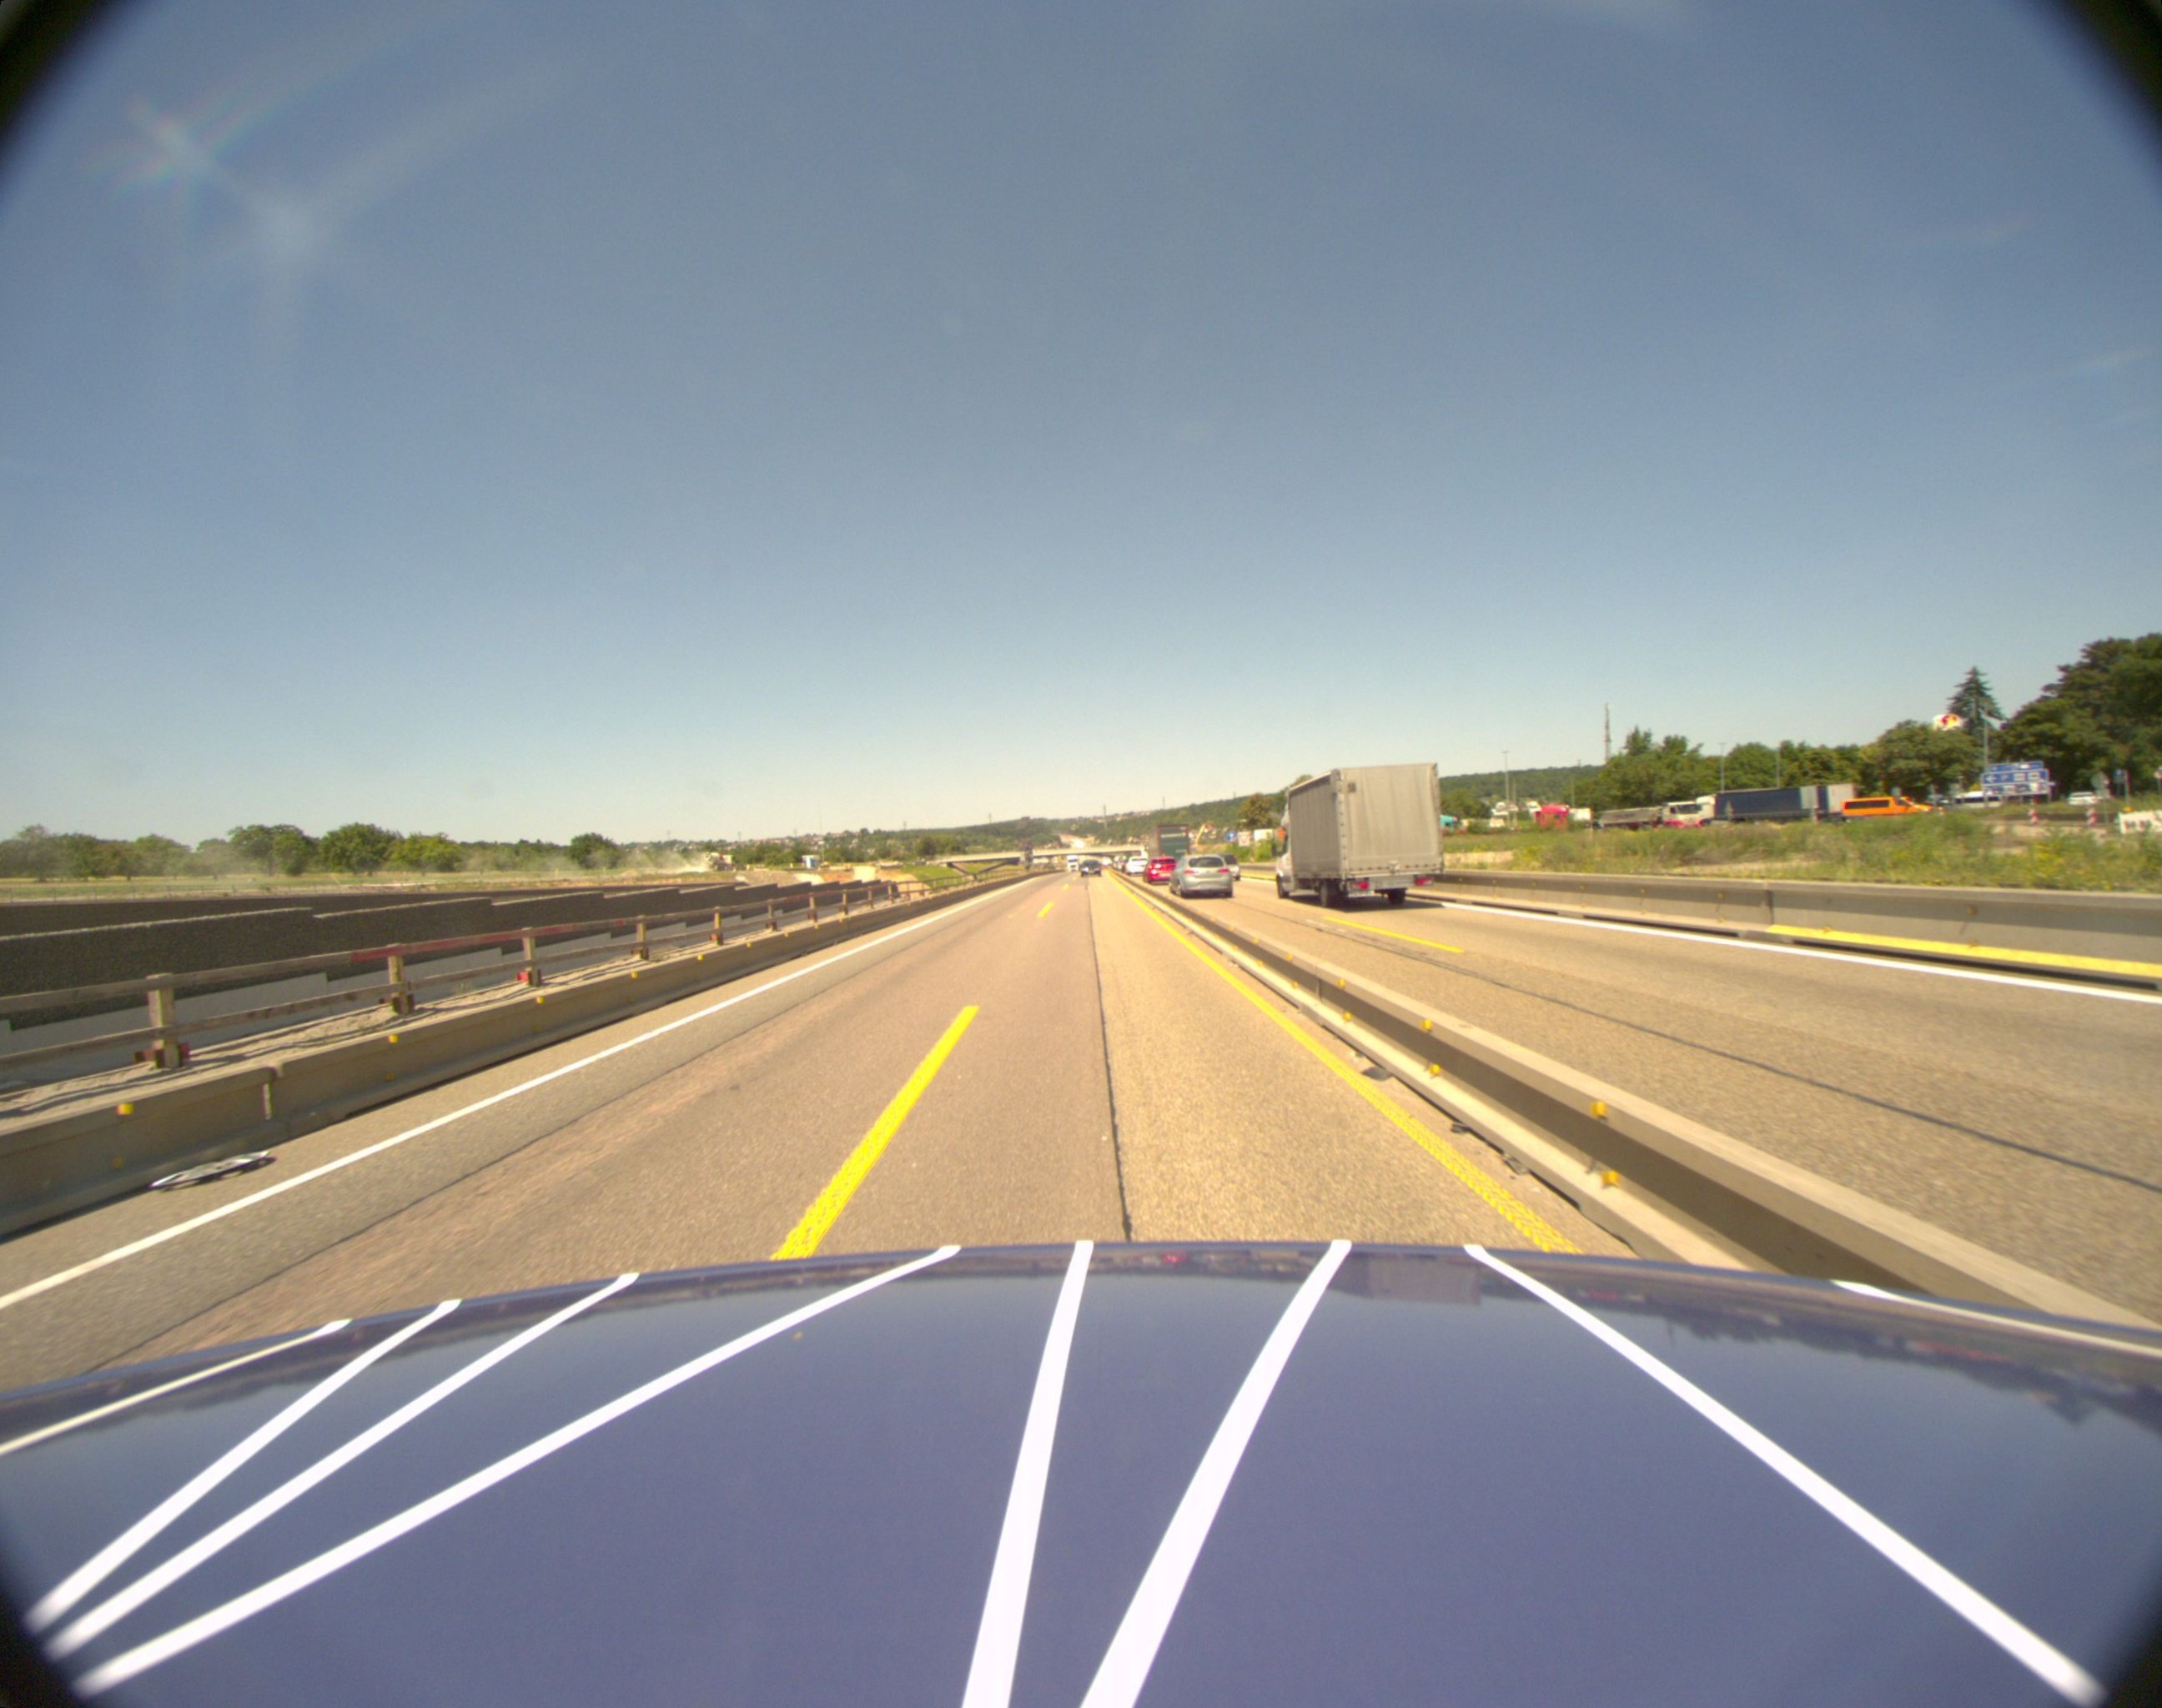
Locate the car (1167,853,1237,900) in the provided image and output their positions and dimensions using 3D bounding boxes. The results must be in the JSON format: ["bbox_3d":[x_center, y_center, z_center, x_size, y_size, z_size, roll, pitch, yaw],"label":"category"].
[{"bbox_3d":[4.085,0.712,26.282,1.686,1.420,4.201,-2,0,0],"label":"car"}]

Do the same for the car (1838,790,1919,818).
[{"bbox_3d":[76.225,-4.749,72.730,2.003,2.240,5.014,-4,0,-34],"label":"car"}]

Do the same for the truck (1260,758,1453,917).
[{"bbox_3d":[6.980,-0.367,20.605,2.395,3.365,7.714,-3,0,1],"label":"truck"}]

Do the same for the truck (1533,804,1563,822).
[{"bbox_3d":[96.639,-8.457,157.289,2.901,3.338,4.907,-4,0,-2],"label":"truck"}]

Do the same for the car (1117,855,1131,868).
[{"bbox_3d":[5.794,1.032,102.640,1.651,1.592,4.491,-2,0,2],"label":"car"}]

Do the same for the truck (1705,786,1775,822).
[{"bbox_3d":[76.532,-5.760,88.426,2.872,3.601,5.960,-4,0,1],"label":"truck"}]

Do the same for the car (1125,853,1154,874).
[{"bbox_3d":[4.514,0.706,59.331,1.901,1.484,4.760,-2,0,0],"label":"car"}]

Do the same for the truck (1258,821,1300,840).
[{"bbox_3d":[47.000,-5.461,180.455,9.135,3.522,2.696,-6,0,44],"label":"truck"}]

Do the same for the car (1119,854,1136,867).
[{"bbox_3d":[5.250,0.701,86.233,1.714,1.344,3.890,-1,0,0],"label":"car"}]

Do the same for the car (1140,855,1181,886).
[{"bbox_3d":[4.019,0.797,38.926,1.653,1.426,4.000,-2,0,0],"label":"car"}]

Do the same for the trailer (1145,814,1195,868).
[{"bbox_3d":[7.728,-1.063,68.162,3.014,4.174,13.851,-3,0,1],"label":"trailer"}]

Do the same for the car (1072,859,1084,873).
[{"bbox_3d":[-0.719,2.778,178.862,2.544,3.126,7.548,-4,0,1],"label":"car"}]

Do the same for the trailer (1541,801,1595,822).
[{"bbox_3d":[96.791,-8.454,151.371,2.952,3.360,11.704,-3,0,-1],"label":"trailer"}]

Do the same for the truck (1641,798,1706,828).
[{"bbox_3d":[62.857,-4.323,80.795,2.275,2.751,5.630,-4,0,-2],"label":"truck"}]

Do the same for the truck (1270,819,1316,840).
[{"bbox_3d":[47.009,-5.377,168.616,9.253,3.653,2.867,-6,0,44],"label":"truck"}]

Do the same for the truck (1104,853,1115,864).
[{"bbox_3d":[8.816,1.399,234.736,3.397,2.939,6.085,-4,0,2],"label":"truck"}]

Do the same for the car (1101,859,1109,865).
[{"bbox_3d":[5.683,1.945,181.262,1.651,1.359,3.945,-1,0,0],"label":"car"}]

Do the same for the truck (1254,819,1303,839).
[{"bbox_3d":[48.152,-6.041,185.420,11.491,3.653,2.535,-6,0,44],"label":"truck"}]

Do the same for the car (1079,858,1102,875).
[{"bbox_3d":[0.815,1.028,63.486,1.810,1.299,4.000,-2,0,1],"label":"car"}]

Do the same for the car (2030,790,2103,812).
[{"bbox_3d":[94.715,-5.049,73.101,3.989,1.823,1.746,-2,0,44],"label":"car"}]

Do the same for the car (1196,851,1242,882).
[{"bbox_3d":[7.253,0.624,40.239,1.627,1.439,3.785,-3,0,-1],"label":"car"}]

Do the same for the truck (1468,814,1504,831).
[{"bbox_3d":[76.249,-5.889,143.187,2.548,2.589,7.778,-4,0,1],"label":"truck"}]

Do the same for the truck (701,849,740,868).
[{"bbox_3d":[-71.219,0.860,150.474,3.155,3.445,8.756,-4,0,2],"label":"truck"}]

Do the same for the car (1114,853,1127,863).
[{"bbox_3d":[8.962,0.979,173.182,2.416,2.106,5.315,-4,0,0],"label":"car"}]

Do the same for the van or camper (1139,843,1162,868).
[{"bbox_3d":[8.808,0.139,96.832,2.442,2.900,7.824,-2,0,3],"label":"van or camper"}]

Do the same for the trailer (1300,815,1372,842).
[{"bbox_3d":[47.807,-4.786,142.979,12.722,3.762,2.625,-6,0,45],"label":"trailer"}]

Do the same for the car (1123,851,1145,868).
[{"bbox_3d":[5.007,0.488,72.613,1.771,1.465,4.227,-2,0,0],"label":"car"}]

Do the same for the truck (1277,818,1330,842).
[{"bbox_3d":[47.409,-5.096,162.012,9.869,4.195,3.590,-6,0,44],"label":"truck"}]

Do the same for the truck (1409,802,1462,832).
[{"bbox_3d":[52.574,-5.463,112.801,2.838,3.728,6.131,-6,1,-45],"label":"truck"}]

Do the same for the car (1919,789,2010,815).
[{"bbox_3d":[84.814,-4.963,73.071,5.499,2.002,2.165,-2,1,45],"label":"car"}]

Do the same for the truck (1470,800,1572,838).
[{"bbox_3d":[51.759,-4.060,89.662,10.066,3.755,2.004,-2,1,45],"label":"truck"}]

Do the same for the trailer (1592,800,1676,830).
[{"bbox_3d":[62.646,-4.349,86.412,2.260,2.751,9.394,-4,0,-2],"label":"trailer"}]

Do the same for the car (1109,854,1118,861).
[{"bbox_3d":[6.483,0.758,151.199,1.651,1.359,3.945,-1,0,0],"label":"car"}]

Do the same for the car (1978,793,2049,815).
[{"bbox_3d":[95.193,-5.078,77.630,1.745,1.823,4.402,-3,0,-35],"label":"car"}]

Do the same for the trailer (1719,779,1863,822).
[{"bbox_3d":[76.538,-5.633,82.596,3.030,3.601,13.433,-4,0,1],"label":"trailer"}]
